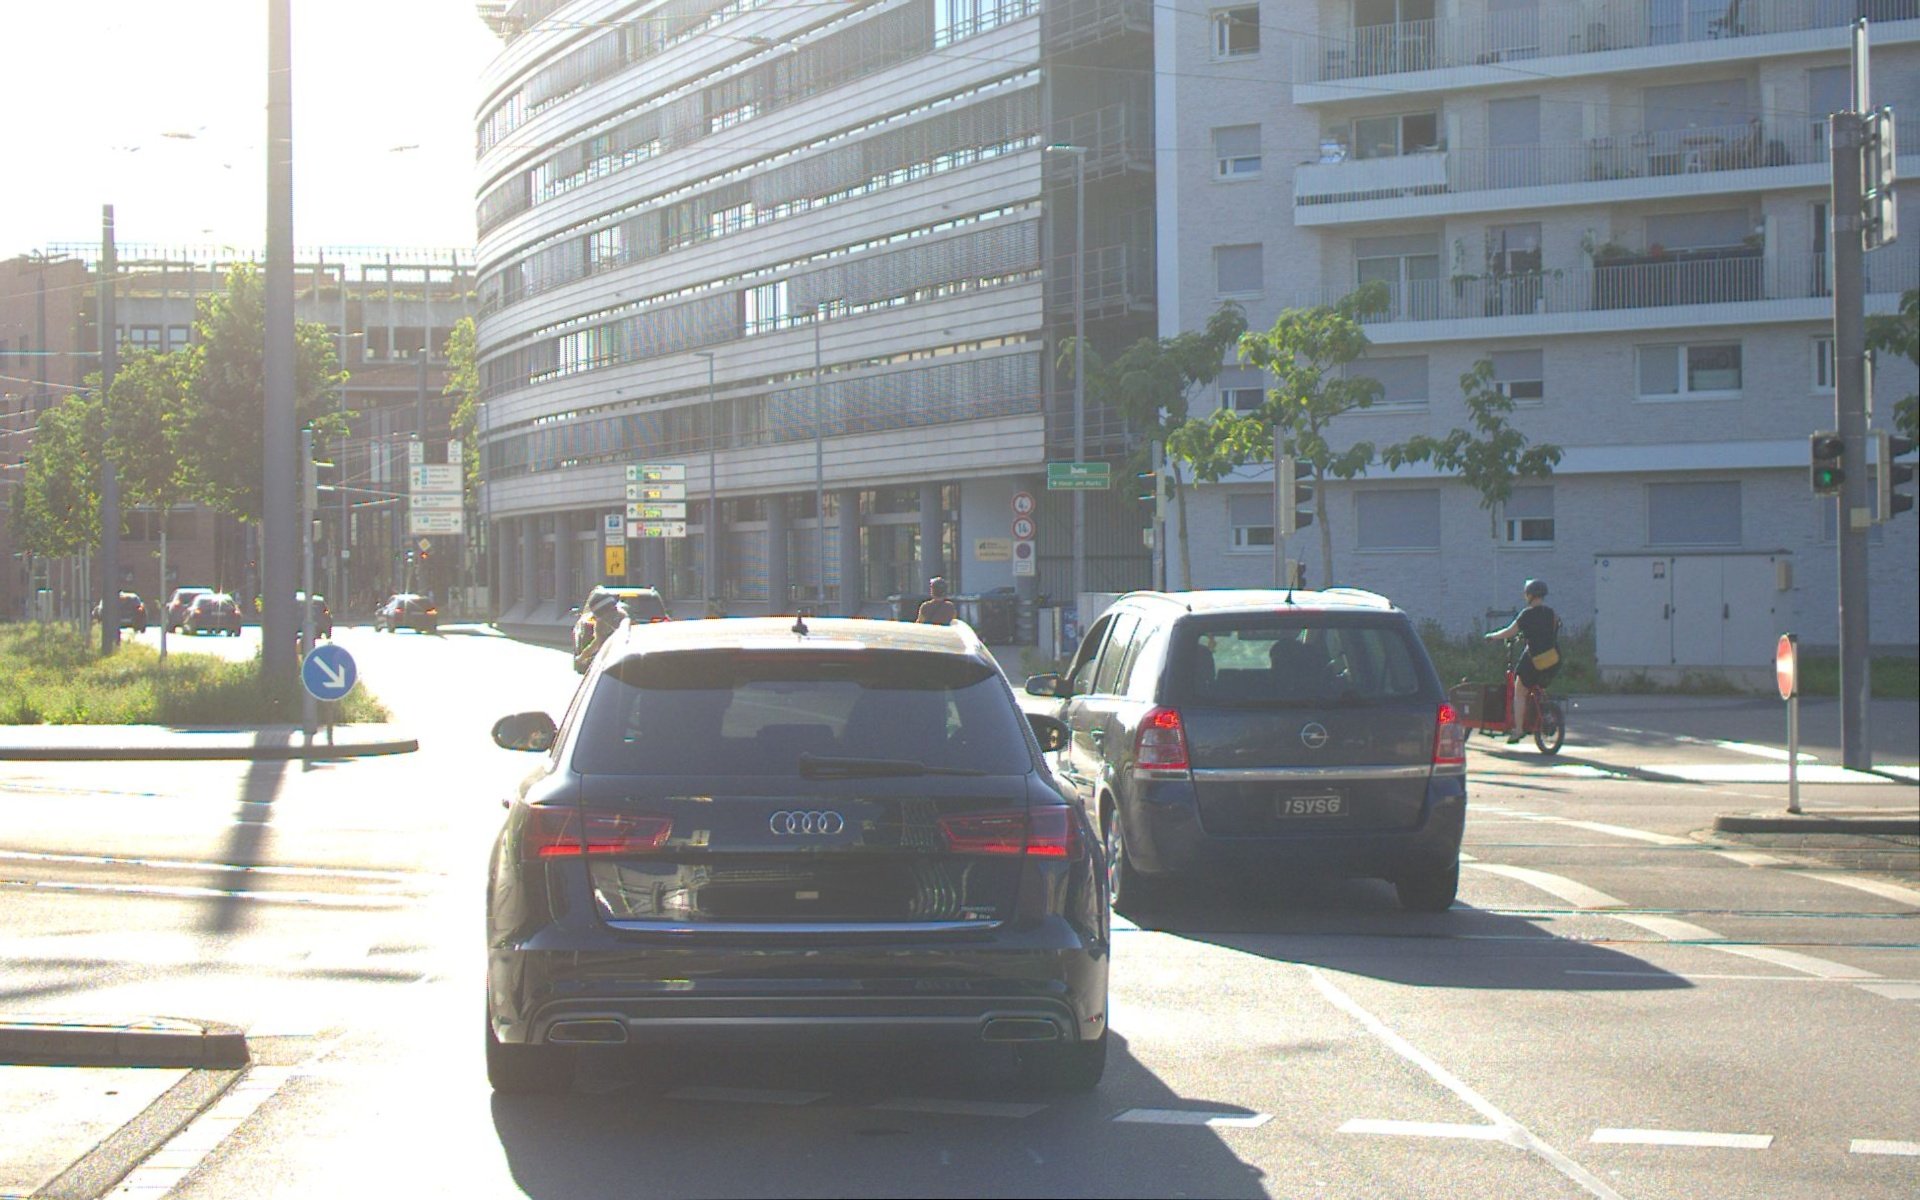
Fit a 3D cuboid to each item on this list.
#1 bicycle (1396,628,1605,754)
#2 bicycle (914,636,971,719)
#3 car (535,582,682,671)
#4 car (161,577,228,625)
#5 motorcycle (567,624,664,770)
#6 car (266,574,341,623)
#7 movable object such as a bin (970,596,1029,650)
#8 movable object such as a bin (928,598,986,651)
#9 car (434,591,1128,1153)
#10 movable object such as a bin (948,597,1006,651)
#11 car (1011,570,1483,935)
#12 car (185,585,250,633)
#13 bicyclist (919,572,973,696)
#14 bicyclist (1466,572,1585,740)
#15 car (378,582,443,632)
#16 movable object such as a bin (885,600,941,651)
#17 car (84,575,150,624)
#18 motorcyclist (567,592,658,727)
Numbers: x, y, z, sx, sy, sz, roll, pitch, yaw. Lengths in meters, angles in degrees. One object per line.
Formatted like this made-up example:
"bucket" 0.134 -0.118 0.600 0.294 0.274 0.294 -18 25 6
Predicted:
"bicycle" 5.621 0.930 35.829 2.080 1.258 0.766 0 0 44
"bicycle" -0.221 1.023 46.044 0.654 1.039 1.929 0 1 3
"car" -7.326 0.530 71.247 2.002 1.709 4.373 1 1 -20
"car" -28.313 0.052 127.036 1.993 1.700 4.001 -1 0 -18
"motorcycle" -3.398 0.941 34.051 0.862 1.388 1.894 0 0 -3
"car" -22.728 -0.030 118.960 1.993 1.590 4.001 -1 0 -19
"movable object such as a bin" 0.998 0.578 86.719 1.059 1.327 1.125 -1 -1 -28
"movable object such as a bin" -0.086 0.634 88.775 1.059 1.327 1.125 -1 -1 -28
"car" -0.507 0.731 11.273 1.842 1.449 4.000 1 1 -1
"movable object such as a bin" 0.430 0.610 87.797 1.059 1.327 1.125 -1 -1 -28
"car" 1.401 0.720 18.442 1.745 1.690 4.261 2 0 -5
"car" -26.212 0.325 121.315 1.993 1.590 4.001 -1 0 -15
"bicyclist" -0.187 0.450 46.038 0.654 1.637 0.972 0 1 3
"bicyclist" 5.860 0.570 35.609 0.929 1.700 0.766 -1 0 44
"car" -21.015 0.271 131.395 1.993 1.831 4.001 -1 0 -15
"movable object such as a bin" -1.237 0.681 90.858 1.059 1.327 1.125 -1 -1 -28
"car" -31.039 0.001 126.484 1.993 1.700 4.001 -1 0 -18
"motorcyclist" -3.451 0.583 34.186 0.862 1.322 0.681 0 0 -3
